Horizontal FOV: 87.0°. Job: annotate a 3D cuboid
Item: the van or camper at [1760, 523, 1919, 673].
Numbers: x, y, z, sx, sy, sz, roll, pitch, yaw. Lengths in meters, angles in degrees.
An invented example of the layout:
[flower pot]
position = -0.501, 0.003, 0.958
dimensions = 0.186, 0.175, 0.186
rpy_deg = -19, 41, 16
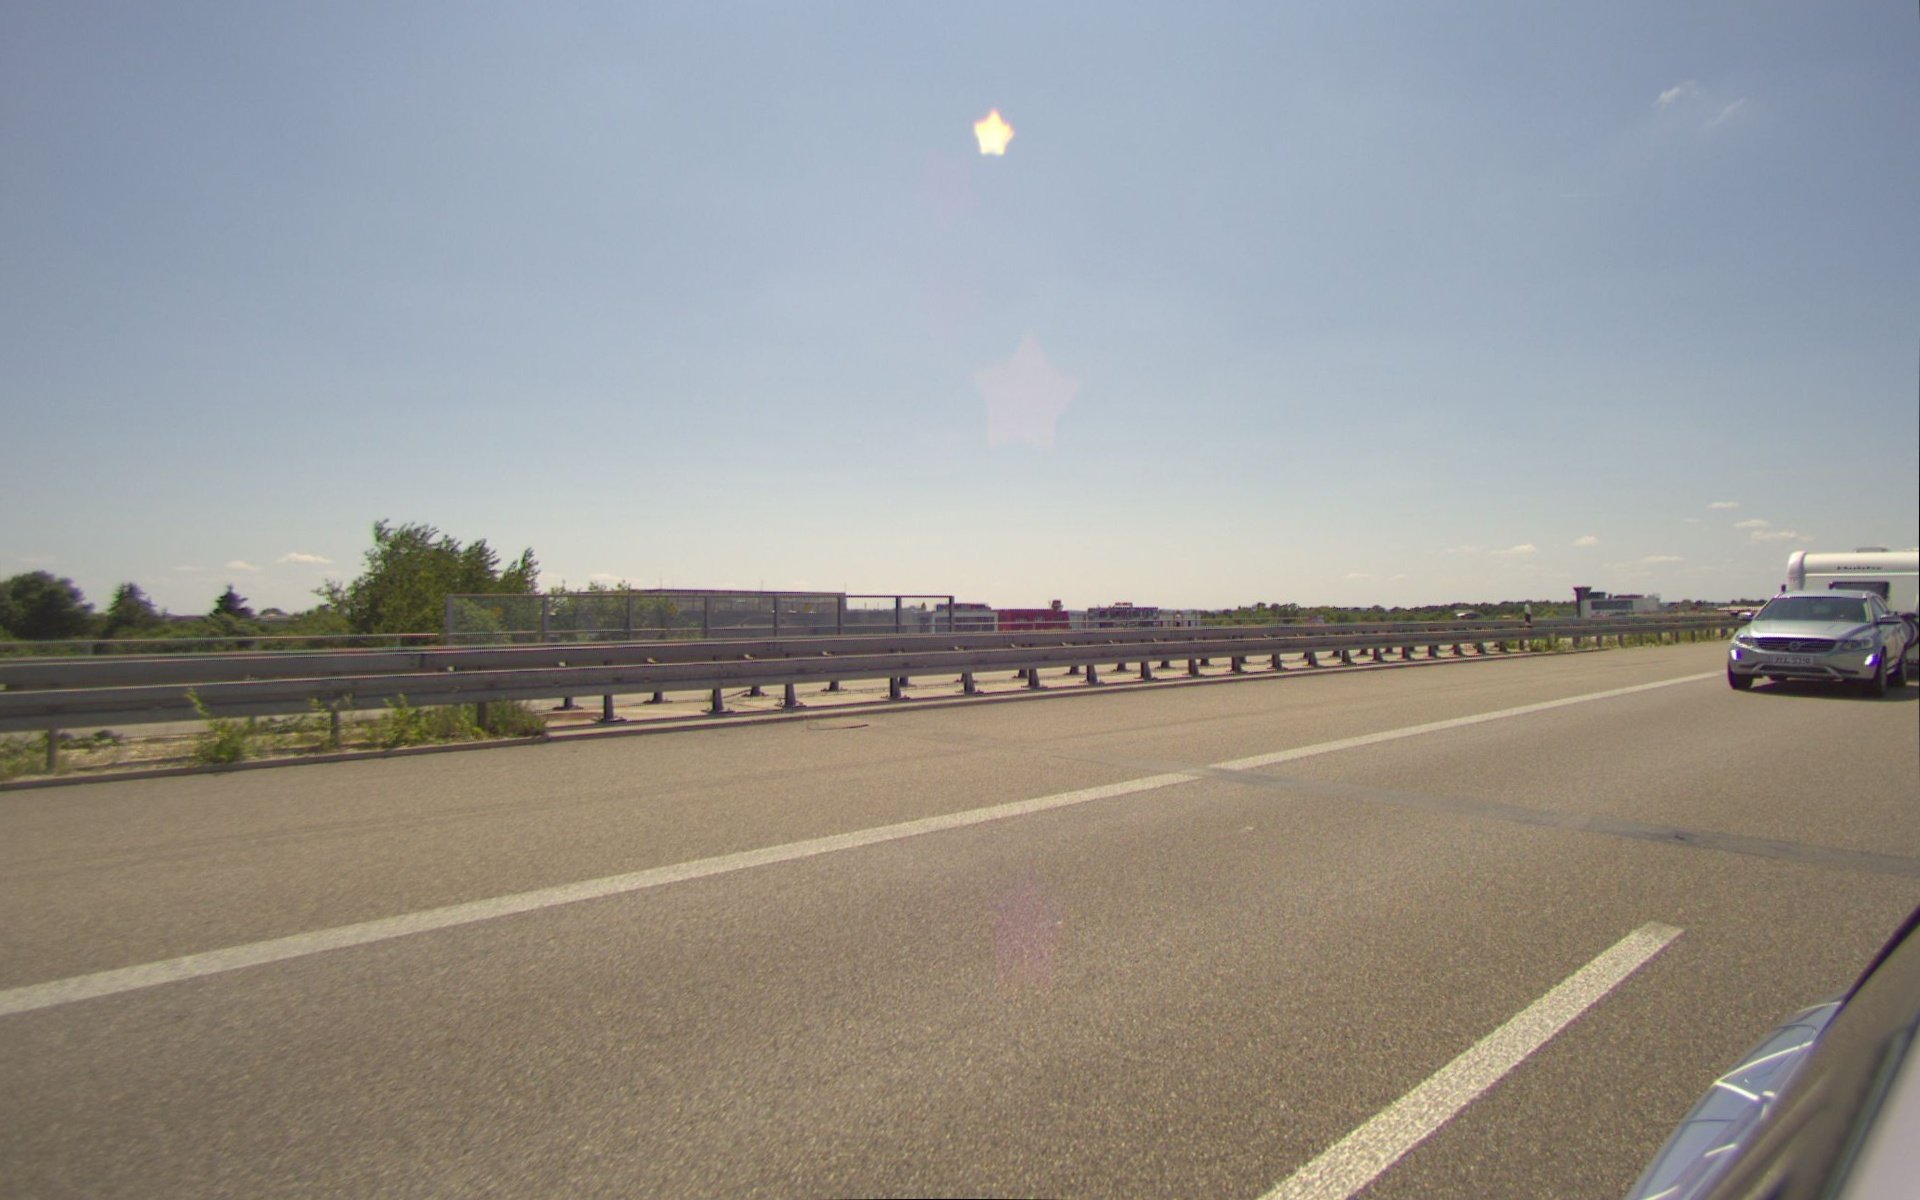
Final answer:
[van or camper]
position = 19.133, 0.002, 20.921
dimensions = 7.676, 2.626, 2.518
rpy_deg = 1, 0, -39

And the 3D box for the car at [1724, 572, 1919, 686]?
[car]
position = 14.554, 0.431, 16.840
dimensions = 4.815, 1.643, 1.884
rpy_deg = 1, 0, -39
